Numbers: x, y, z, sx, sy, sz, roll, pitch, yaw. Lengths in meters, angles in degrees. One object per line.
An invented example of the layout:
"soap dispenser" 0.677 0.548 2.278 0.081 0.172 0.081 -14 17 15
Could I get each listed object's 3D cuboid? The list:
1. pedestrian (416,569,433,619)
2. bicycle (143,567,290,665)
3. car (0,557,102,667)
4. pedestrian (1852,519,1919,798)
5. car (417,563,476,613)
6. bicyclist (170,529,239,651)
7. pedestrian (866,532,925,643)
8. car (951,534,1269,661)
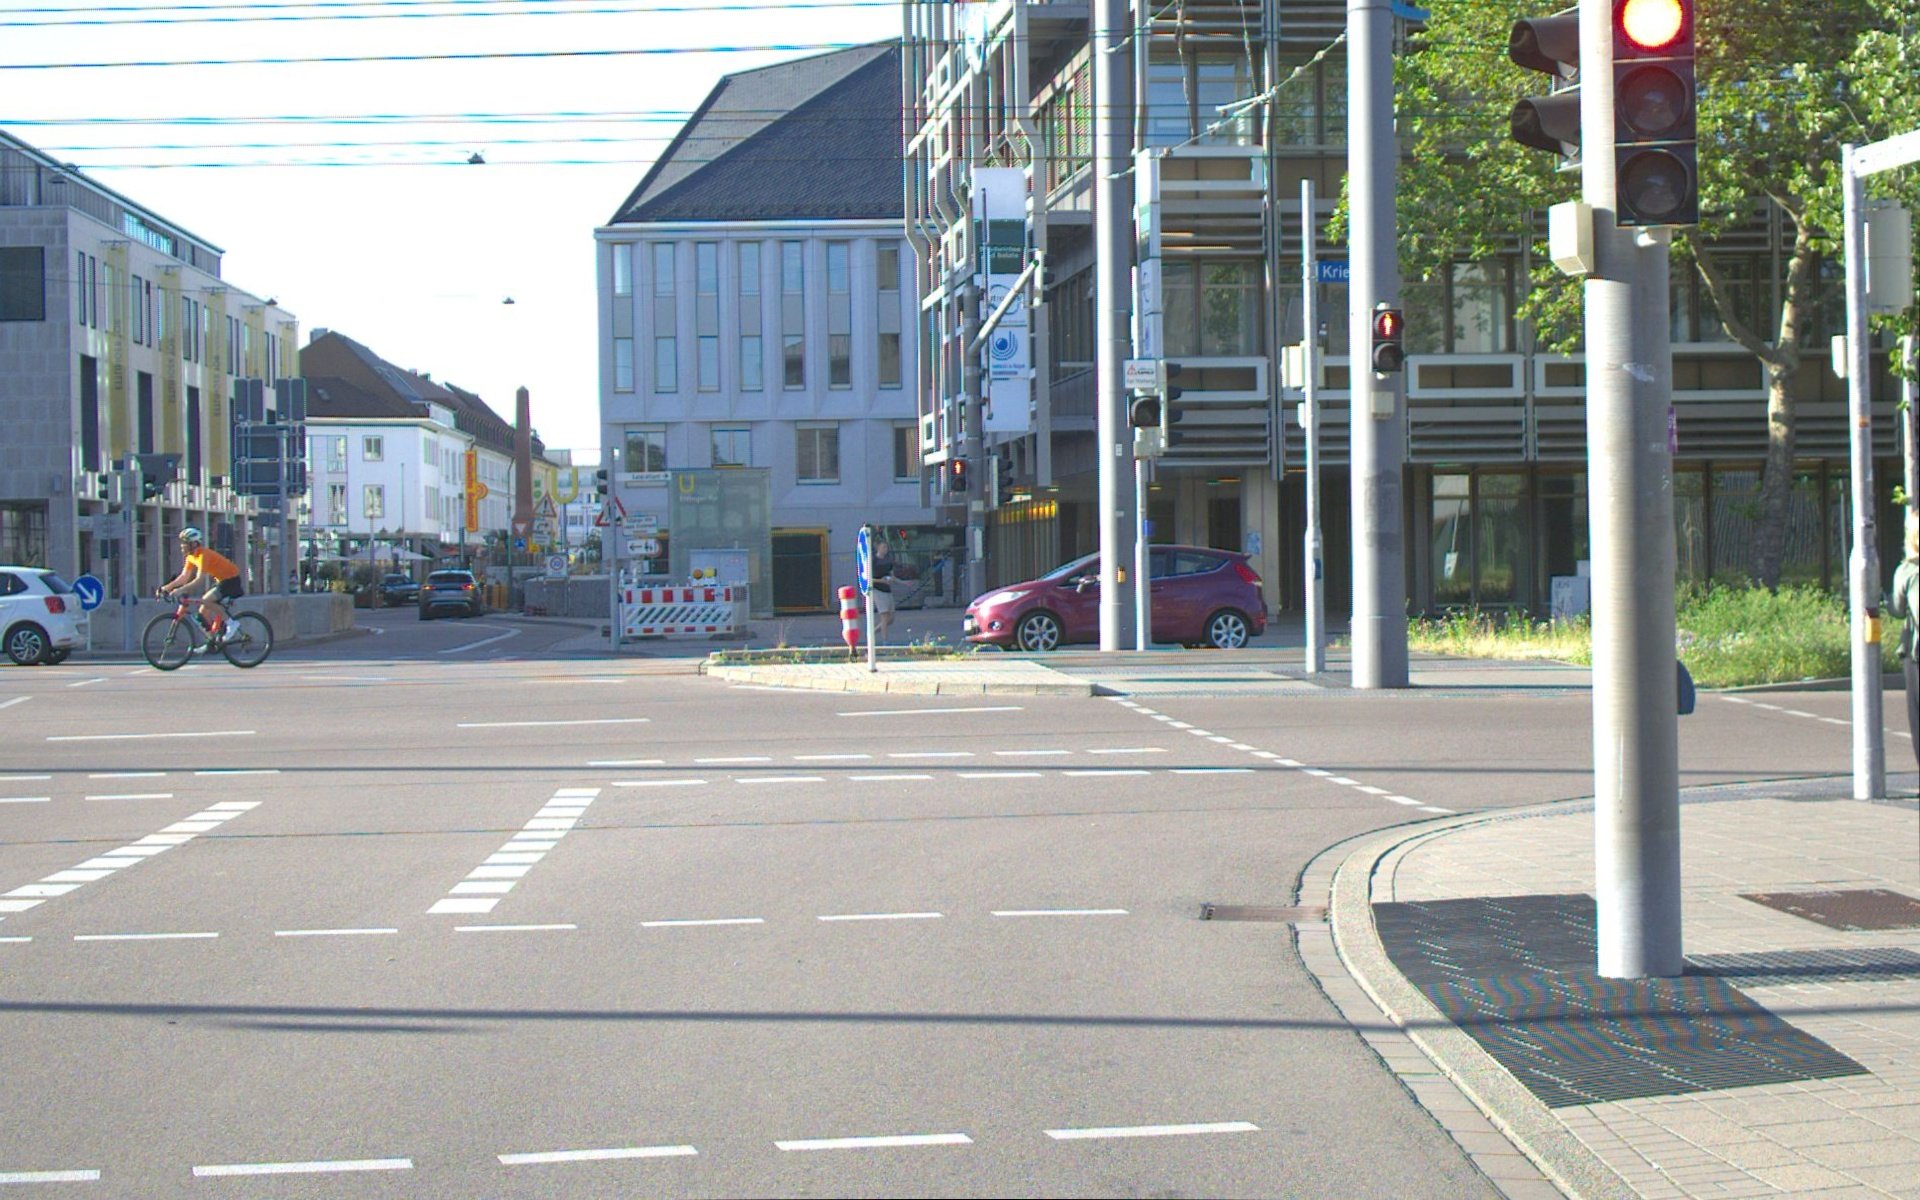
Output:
"pedestrian" -18.251 -0.214 117.138 0.521 1.674 0.583 1 1 -7
"bicycle" -8.883 0.197 41.071 1.644 1.150 0.497 1 0 -23
"car" -14.665 0.148 50.301 3.897 1.579 1.660 1 0 -7
"pedestrian" 5.336 0.313 18.681 0.788 1.487 0.644 1 0 -1
"car" -16.150 -0.390 108.209 1.737 1.525 3.856 1 1 -7
"bicyclist" -9.014 -0.121 41.005 0.711 1.432 0.497 1 0 -23
"pedestrian" -1.102 -0.214 58.823 0.643 1.883 0.789 1 0 32
"car" 1.940 -0.045 45.031 3.884 1.579 1.660 -1 1 -9
